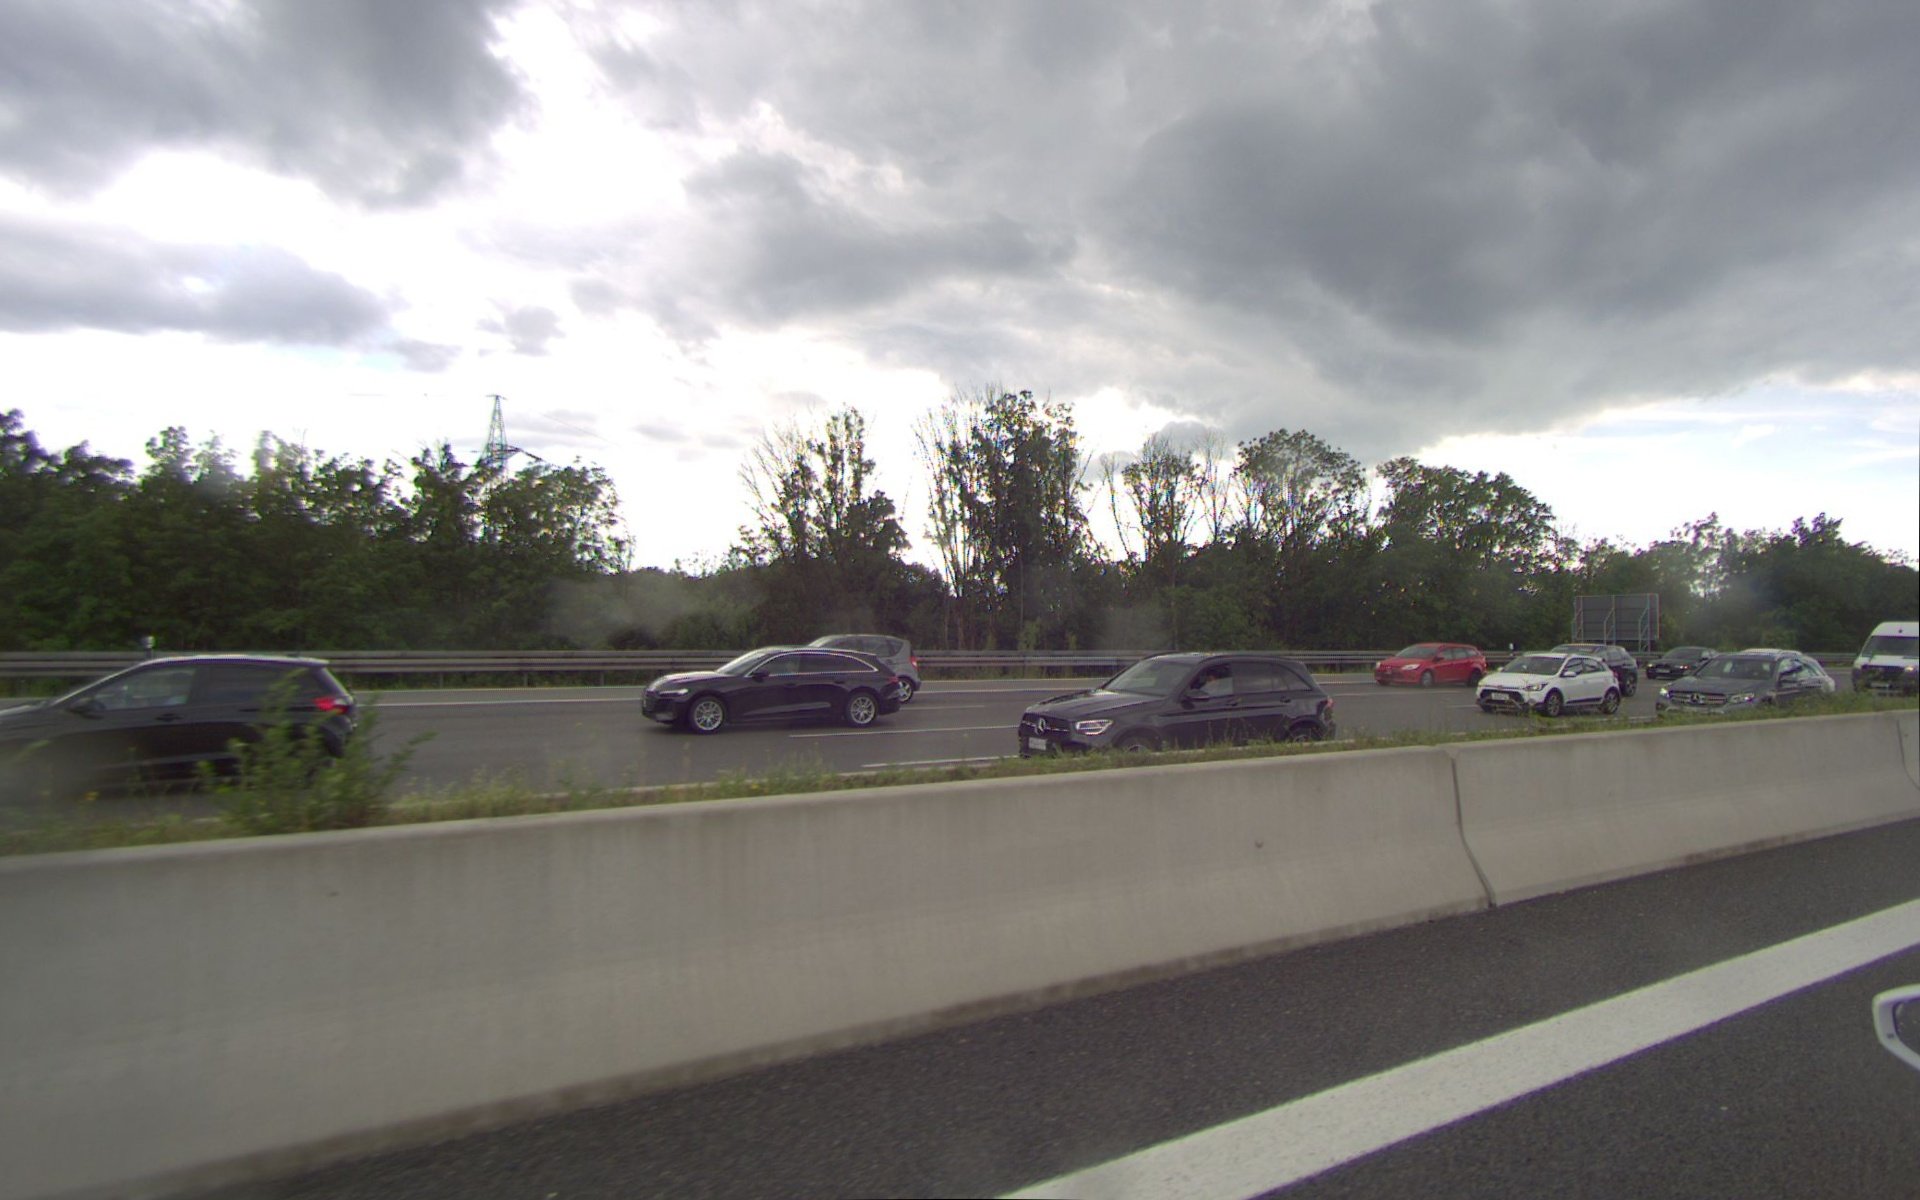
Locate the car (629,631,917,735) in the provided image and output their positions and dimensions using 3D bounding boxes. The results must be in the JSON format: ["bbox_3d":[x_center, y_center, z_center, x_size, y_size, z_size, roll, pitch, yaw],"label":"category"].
[{"bbox_3d":[-3.344,1.437,18.328,4.855,1.624,1.715,2,0,-30],"label":"car"}]

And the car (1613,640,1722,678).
[{"bbox_3d":[30.191,2.500,42.841,4.855,1.514,1.973,2,-2,-30],"label":"car"}]

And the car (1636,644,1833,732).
[{"bbox_3d":[16.859,1.835,21.798,4.857,1.624,1.714,2,0,-31],"label":"car"}]

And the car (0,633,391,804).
[{"bbox_3d":[-9.064,1.236,11.290,4.590,1.624,1.715,2,0,-30],"label":"car"}]

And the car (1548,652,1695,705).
[{"bbox_3d":[21.037,2.456,31.896,4.855,1.514,1.973,2,-2,-30],"label":"car"}]

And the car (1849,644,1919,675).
[{"bbox_3d":[48.967,3.101,52.891,4.425,1.514,1.973,2,-2,-30],"label":"car"}]

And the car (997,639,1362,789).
[{"bbox_3d":[3.006,1.392,13.369,4.855,1.624,1.715,2,0,-30],"label":"car"}]

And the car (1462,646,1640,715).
[{"bbox_3d":[14.828,1.953,25.110,4.857,1.514,1.714,2,0,-31],"label":"car"}]

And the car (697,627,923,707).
[{"bbox_3d":[-3.419,1.513,23.224,4.855,1.624,1.715,2,0,-30],"label":"car"}]

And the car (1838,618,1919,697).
[{"bbox_3d":[35.188,2.085,36.956,7.645,2.687,2.039,2,-2,-30],"label":"car"}]

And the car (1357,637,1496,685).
[{"bbox_3d":[16.145,2.083,34.692,4.855,1.514,1.973,2,-2,-30],"label":"car"}]

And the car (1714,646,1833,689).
[{"bbox_3d":[31.034,2.534,38.294,4.855,1.514,1.973,2,-2,-30],"label":"car"}]
